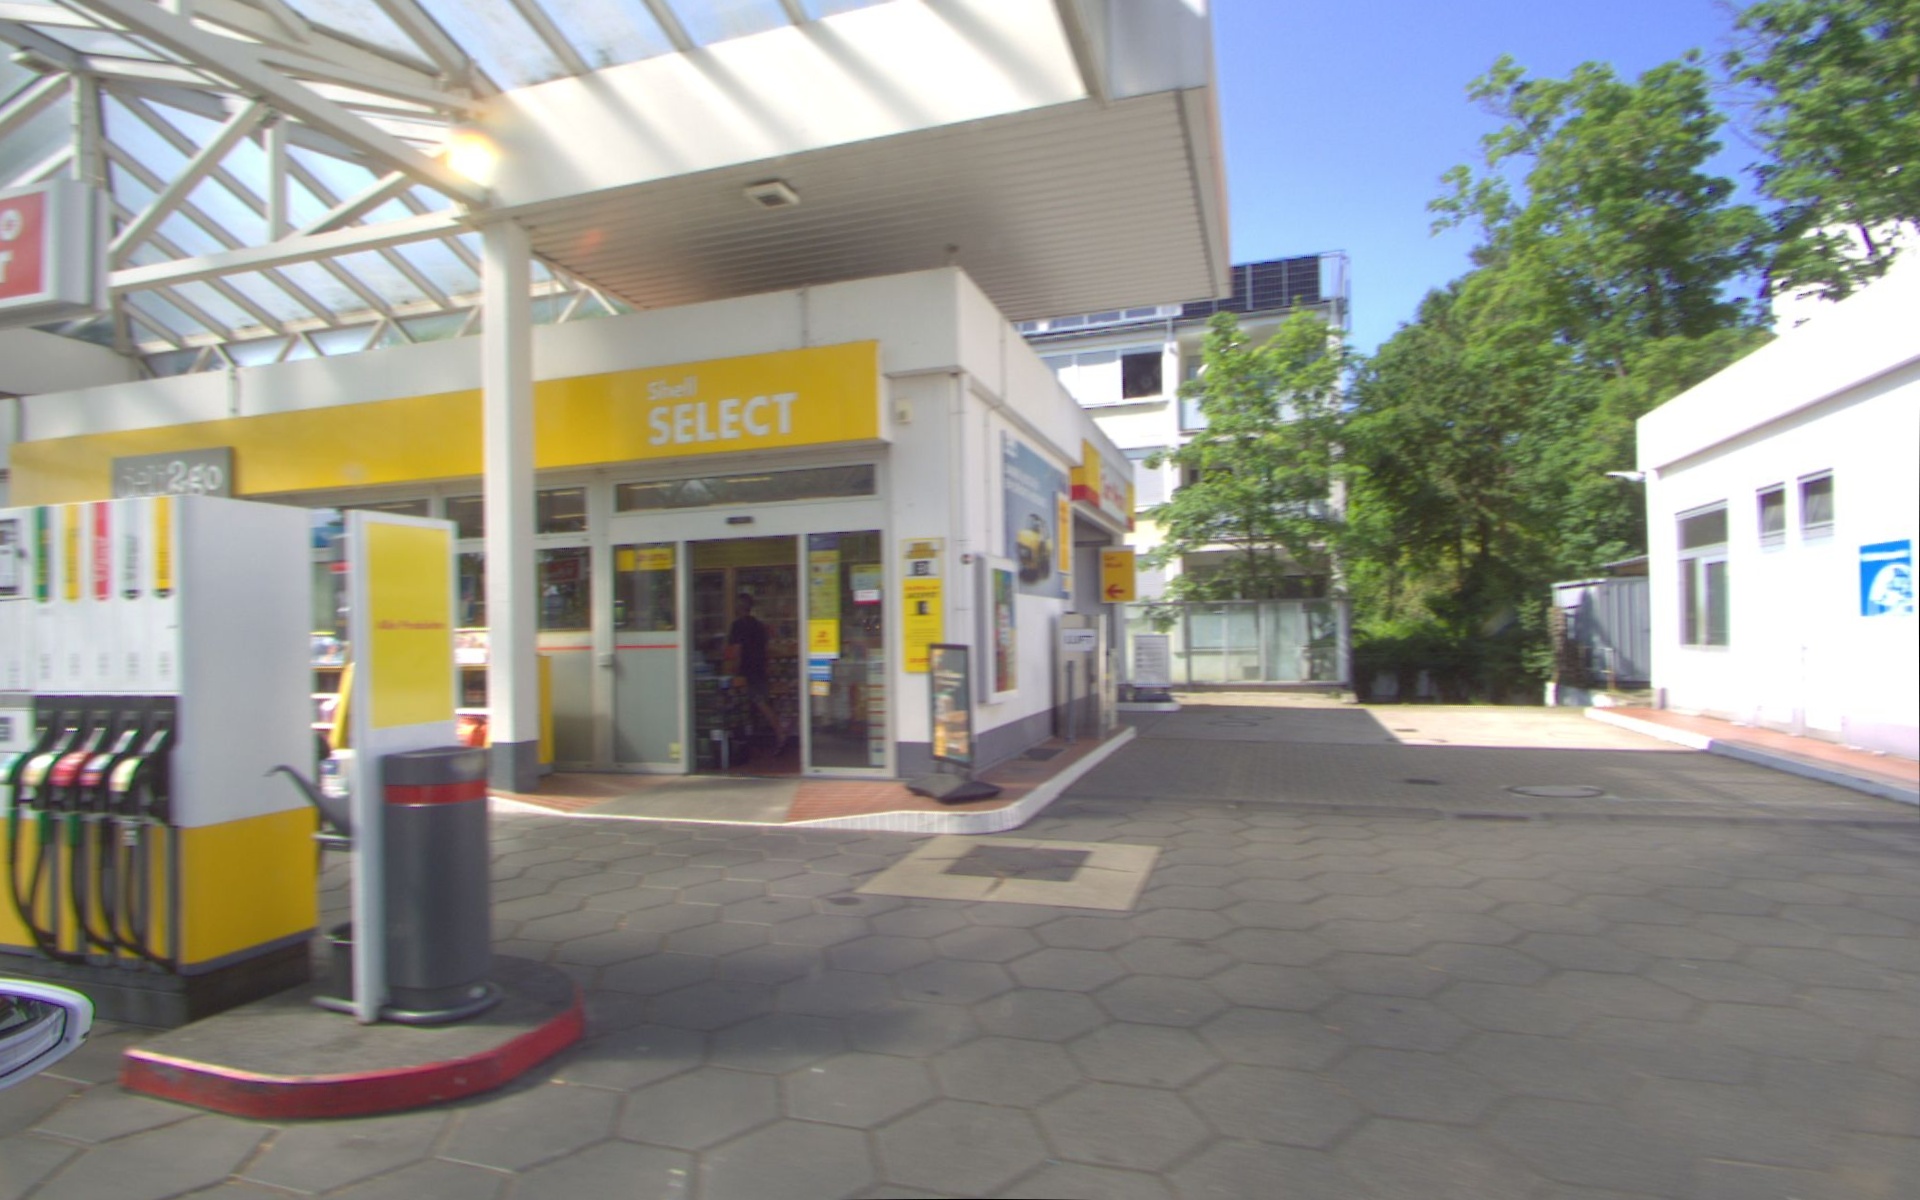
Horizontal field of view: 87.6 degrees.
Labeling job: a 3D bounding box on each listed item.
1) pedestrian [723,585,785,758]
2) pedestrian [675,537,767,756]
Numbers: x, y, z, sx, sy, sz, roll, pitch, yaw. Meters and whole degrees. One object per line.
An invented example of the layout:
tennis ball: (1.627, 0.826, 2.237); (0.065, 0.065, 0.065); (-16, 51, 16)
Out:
pedestrian: (-2.182, 0.751, 10.651); (0.562, 1.784, 0.530); (-1, -1, -2)
pedestrian: (-2.312, 0.453, 9.749); (0.611, 2.039, 0.742); (-1, -1, 9)
